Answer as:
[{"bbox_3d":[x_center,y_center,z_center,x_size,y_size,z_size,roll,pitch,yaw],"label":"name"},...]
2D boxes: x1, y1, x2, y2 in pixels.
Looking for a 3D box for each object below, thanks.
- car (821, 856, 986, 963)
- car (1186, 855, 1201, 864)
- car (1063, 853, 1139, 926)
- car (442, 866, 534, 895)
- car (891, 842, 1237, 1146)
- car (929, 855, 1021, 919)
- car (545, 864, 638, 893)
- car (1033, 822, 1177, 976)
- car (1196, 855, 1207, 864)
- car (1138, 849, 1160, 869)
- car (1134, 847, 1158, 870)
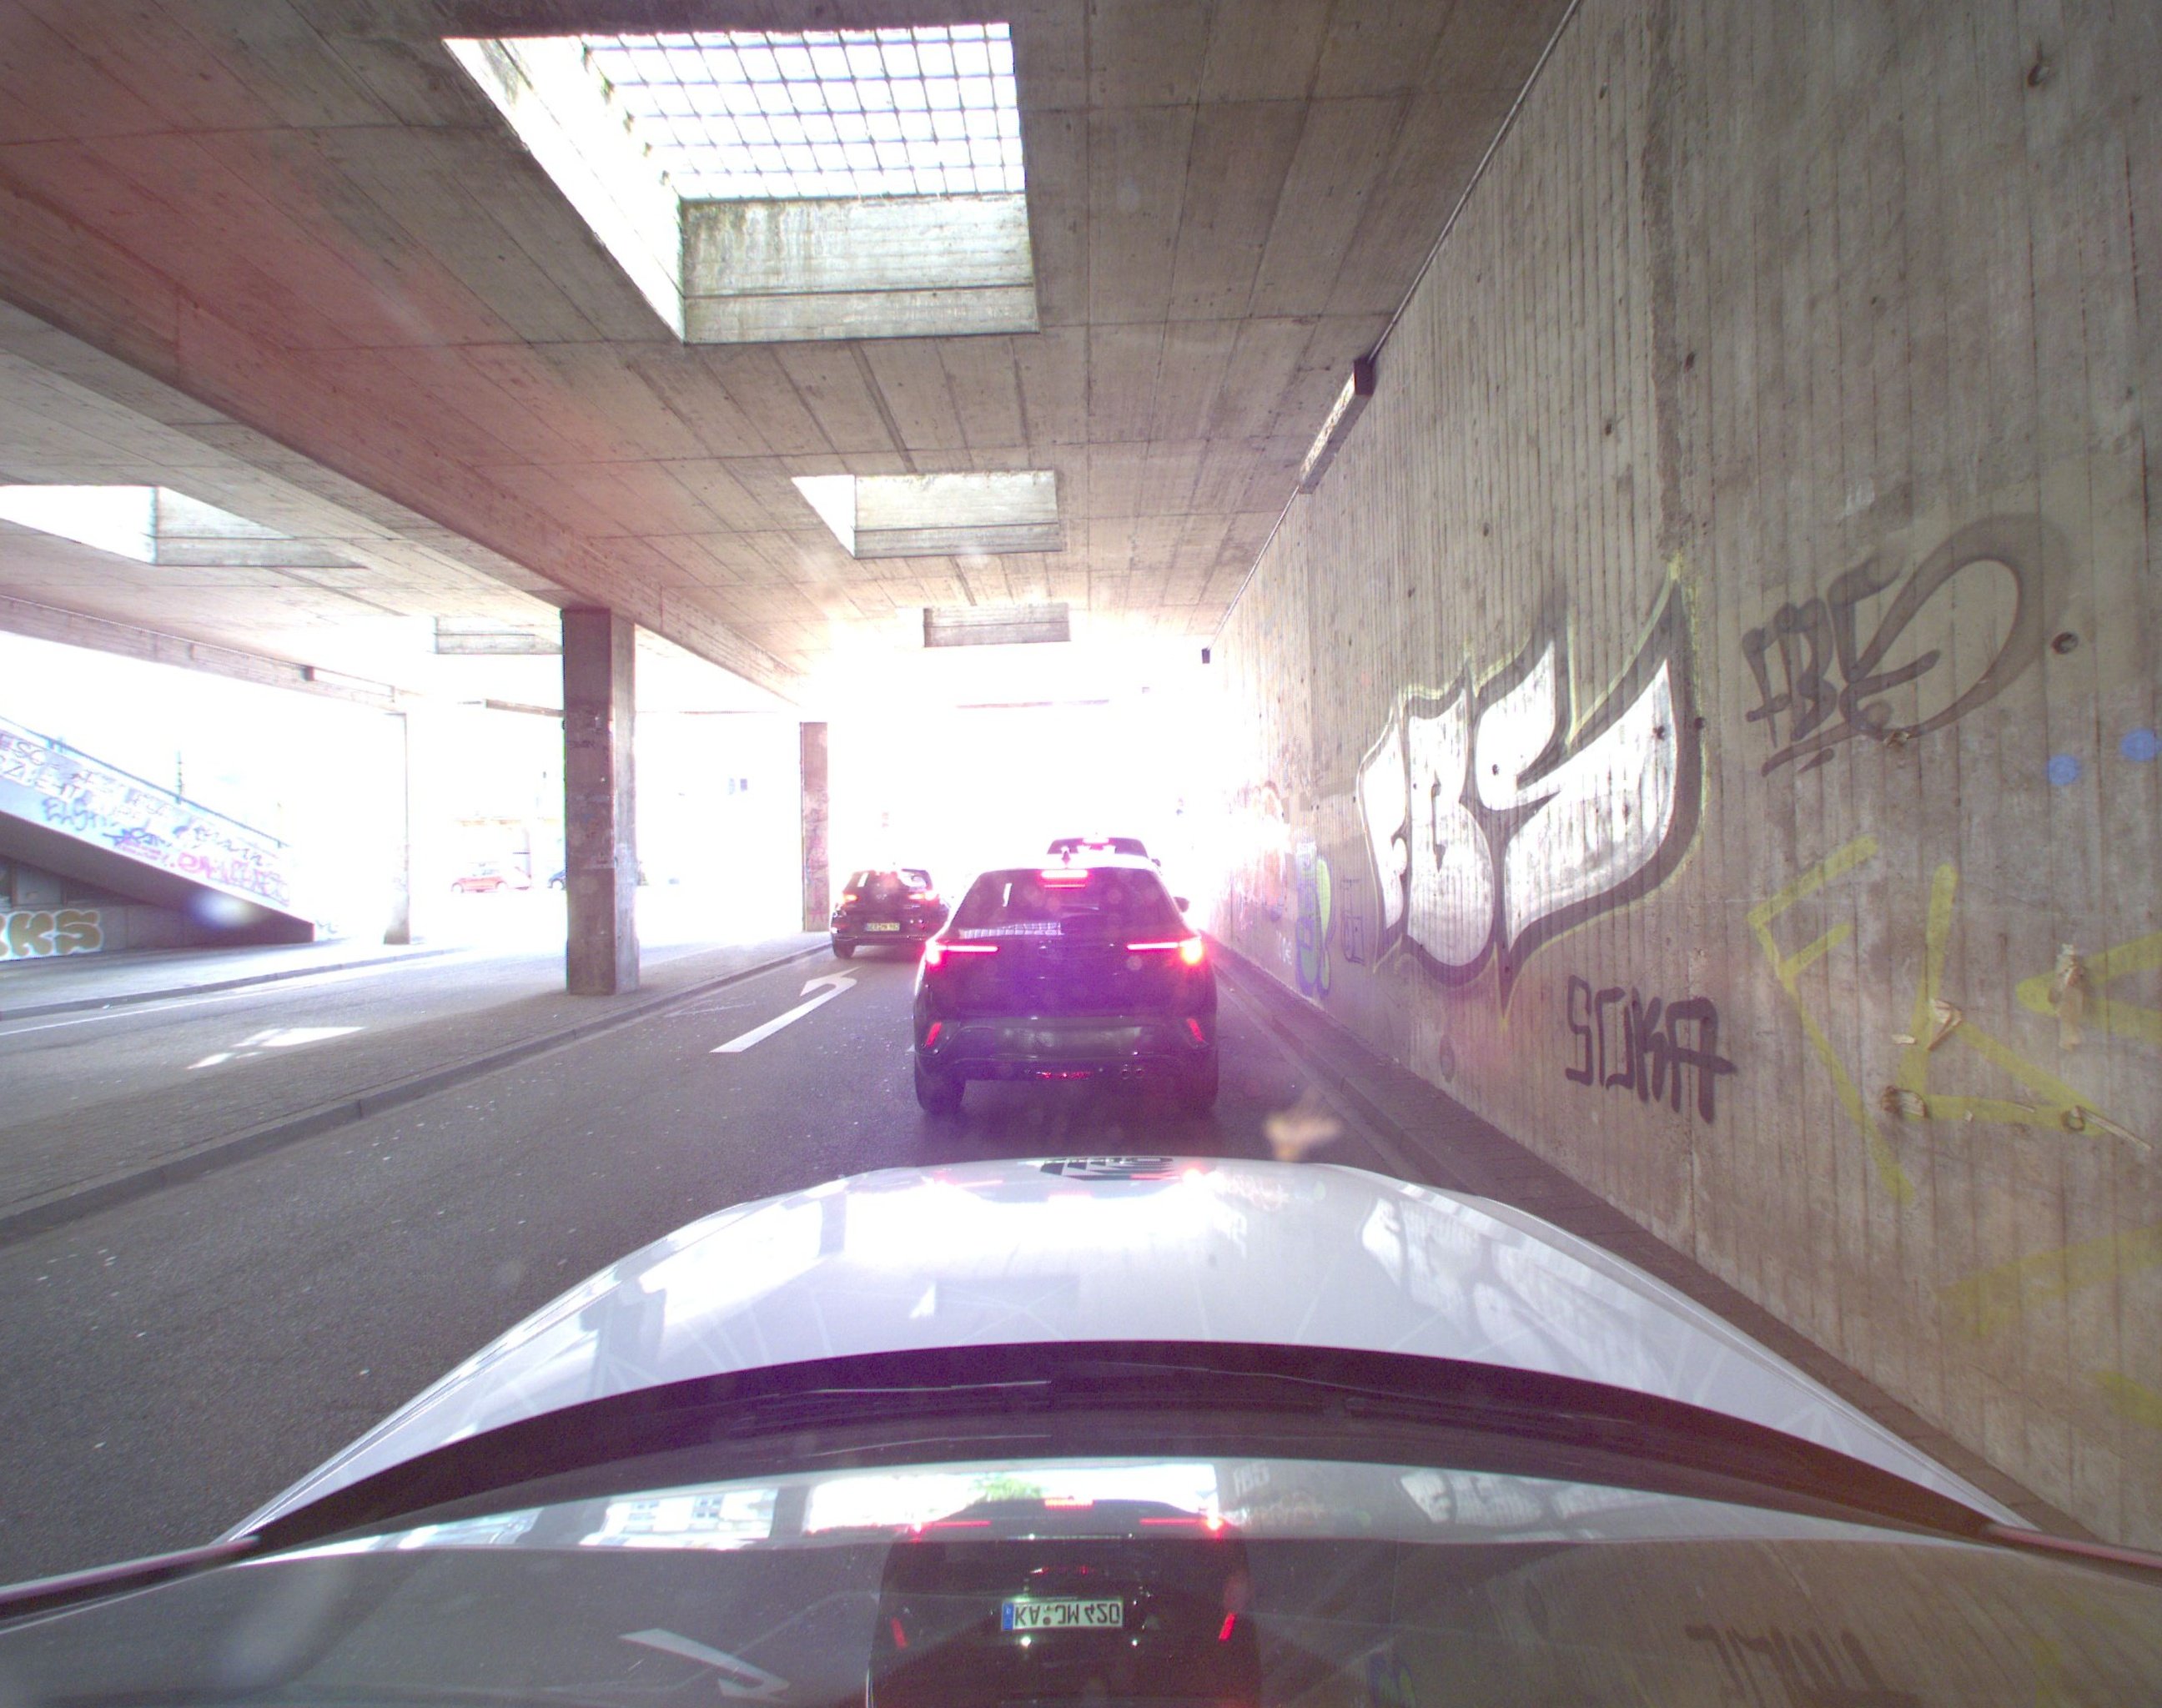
[{"bbox_3d":[-2.745,0.800,13.492,1.755,1.480,3.846,-1,0,2],"label":"car"},{"bbox_3d":[19.588,0.954,141.521,1.803,1.667,4.838,-1,-1,18],"label":"car"},{"bbox_3d":[0.496,0.759,19.391,1.603,1.513,4.055,-1,0,2],"label":"car"},{"bbox_3d":[-32.925,1.470,45.277,3.748,1.475,1.749,-1,-1,0],"label":"car"},{"bbox_3d":[-0.025,0.725,6.233,1.755,1.531,4.091,-1,0,2],"label":"car"},{"bbox_3d":[-2.656,0.796,21.220,1.755,1.480,3.846,-1,0,2],"label":"car"},{"bbox_3d":[-27.169,1.342,45.299,4.096,1.475,1.737,-1,-1,0],"label":"car"},{"bbox_3d":[0.360,0.564,12.172,1.755,1.883,4.148,-1,0,2],"label":"car"},{"bbox_3d":[22.856,0.972,153.833,1.742,1.667,3.958,-1,-1,13],"label":"car"},{"bbox_3d":[5.759,0.415,68.364,1.745,1.667,3.950,0,-1,6],"label":"car"},{"bbox_3d":[4.971,0.372,62.260,1.745,1.667,3.950,0,-1,6],"label":"car"}]
